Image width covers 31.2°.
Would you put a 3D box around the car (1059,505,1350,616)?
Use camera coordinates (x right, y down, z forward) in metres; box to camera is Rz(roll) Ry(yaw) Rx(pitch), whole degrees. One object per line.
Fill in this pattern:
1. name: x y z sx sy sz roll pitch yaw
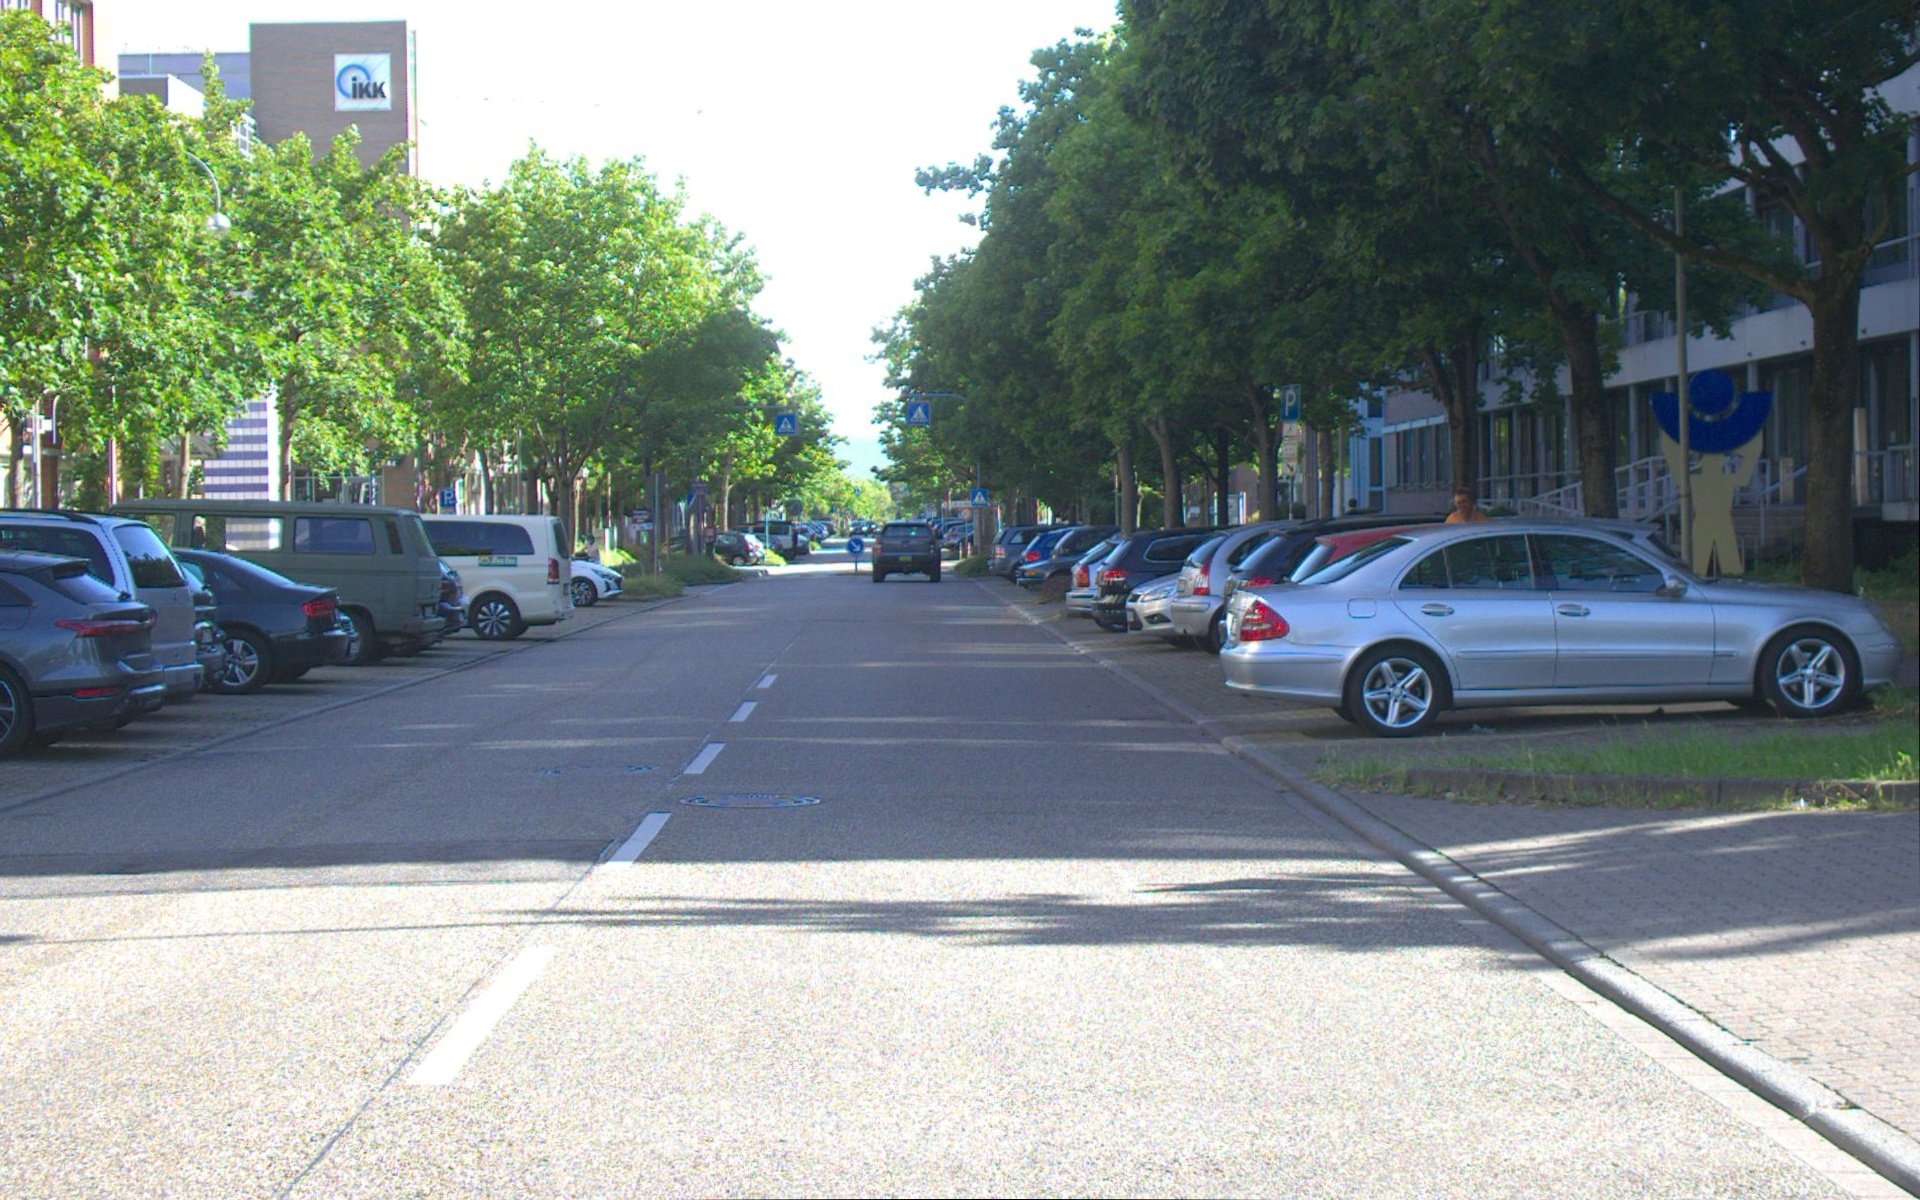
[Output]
1. car: 3.503 -0.581 49.712 3.969 1.415 1.711 -2 1 -2

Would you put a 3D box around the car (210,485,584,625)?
1. car: -8.374 -0.678 51.460 5.257 1.960 1.943 1 1 -1

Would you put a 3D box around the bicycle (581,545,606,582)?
1. bicycle: -10.722 -1.063 100.641 0.532 1.068 1.300 -1 1 2

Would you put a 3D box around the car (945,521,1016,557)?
1. car: 1.166 -3.521 198.332 3.986 2.007 2.000 -1 1 -2

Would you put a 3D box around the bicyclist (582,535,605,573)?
1. bicyclist: -10.726 -1.353 100.613 0.532 1.087 0.794 -1 1 2

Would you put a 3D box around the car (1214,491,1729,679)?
1. car: 4.733 -0.155 32.329 4.515 1.537 1.922 -2 1 1

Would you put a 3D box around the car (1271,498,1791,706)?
1. car: 4.461 -0.001 27.353 3.838 1.442 1.922 -2 1 3

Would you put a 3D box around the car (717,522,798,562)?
1. car: -10.544 -3.031 179.108 3.987 2.007 2.000 -1 1 3

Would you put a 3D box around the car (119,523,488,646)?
1. car: -8.386 -0.210 44.171 4.321 1.472 1.943 1 1 1

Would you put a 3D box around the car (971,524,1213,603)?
1. car: 2.719 -0.768 71.467 4.824 1.415 2.032 -2 1 -2

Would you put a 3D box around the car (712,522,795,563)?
1. car: -10.584 -2.937 176.162 3.987 2.007 2.000 -1 1 3

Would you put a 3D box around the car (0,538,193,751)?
1. car: -7.789 0.265 24.219 4.402 1.422 1.773 1 1 -3

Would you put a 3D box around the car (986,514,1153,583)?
1. car: 2.985 -1.405 94.265 4.350 1.698 1.813 -2 1 -4

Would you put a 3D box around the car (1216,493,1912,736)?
1. car: 4.199 0.083 24.413 4.578 1.470 1.747 -3 1 0

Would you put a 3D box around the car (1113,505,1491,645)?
1. car: 4.120 -0.314 41.877 4.285 1.488 2.004 -2 1 -2

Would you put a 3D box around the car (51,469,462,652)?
1. car: -8.429 -0.489 41.481 4.488 2.082 2.083 1 1 1

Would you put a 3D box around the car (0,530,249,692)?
1. car: -8.601 0.072 31.752 3.726 1.422 1.725 1 1 -2

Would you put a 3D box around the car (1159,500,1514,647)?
1. car: 4.272 -0.311 39.329 3.742 1.488 1.617 -2 1 -5

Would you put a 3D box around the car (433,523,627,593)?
1. car: -9.199 -0.909 73.820 3.986 1.481 1.807 0 1 -2

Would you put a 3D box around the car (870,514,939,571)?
1. car: -1.676 -1.719 103.029 1.993 1.634 4.000 1 1 -1

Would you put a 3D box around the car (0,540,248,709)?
1. car: -8.370 0.168 29.128 4.320 1.354 1.757 1 1 -2

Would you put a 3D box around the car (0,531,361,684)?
1. car: -7.872 0.060 33.997 3.725 1.422 1.725 1 1 -6

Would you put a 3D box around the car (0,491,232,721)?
1. car: -8.046 0.005 26.881 4.320 1.711 1.963 1 1 -2

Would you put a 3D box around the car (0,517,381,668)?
1. car: -8.405 -0.096 36.751 4.132 1.522 1.725 1 1 -1

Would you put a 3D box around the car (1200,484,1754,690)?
1. car: 4.383 -0.125 29.724 4.515 1.537 1.922 -2 1 3

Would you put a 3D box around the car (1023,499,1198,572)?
1. car: 3.476 -1.504 80.009 3.949 1.509 1.813 -2 1 1

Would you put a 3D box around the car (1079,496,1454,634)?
1. car: 3.908 -0.458 44.330 4.591 1.488 1.763 -3 1 -1
